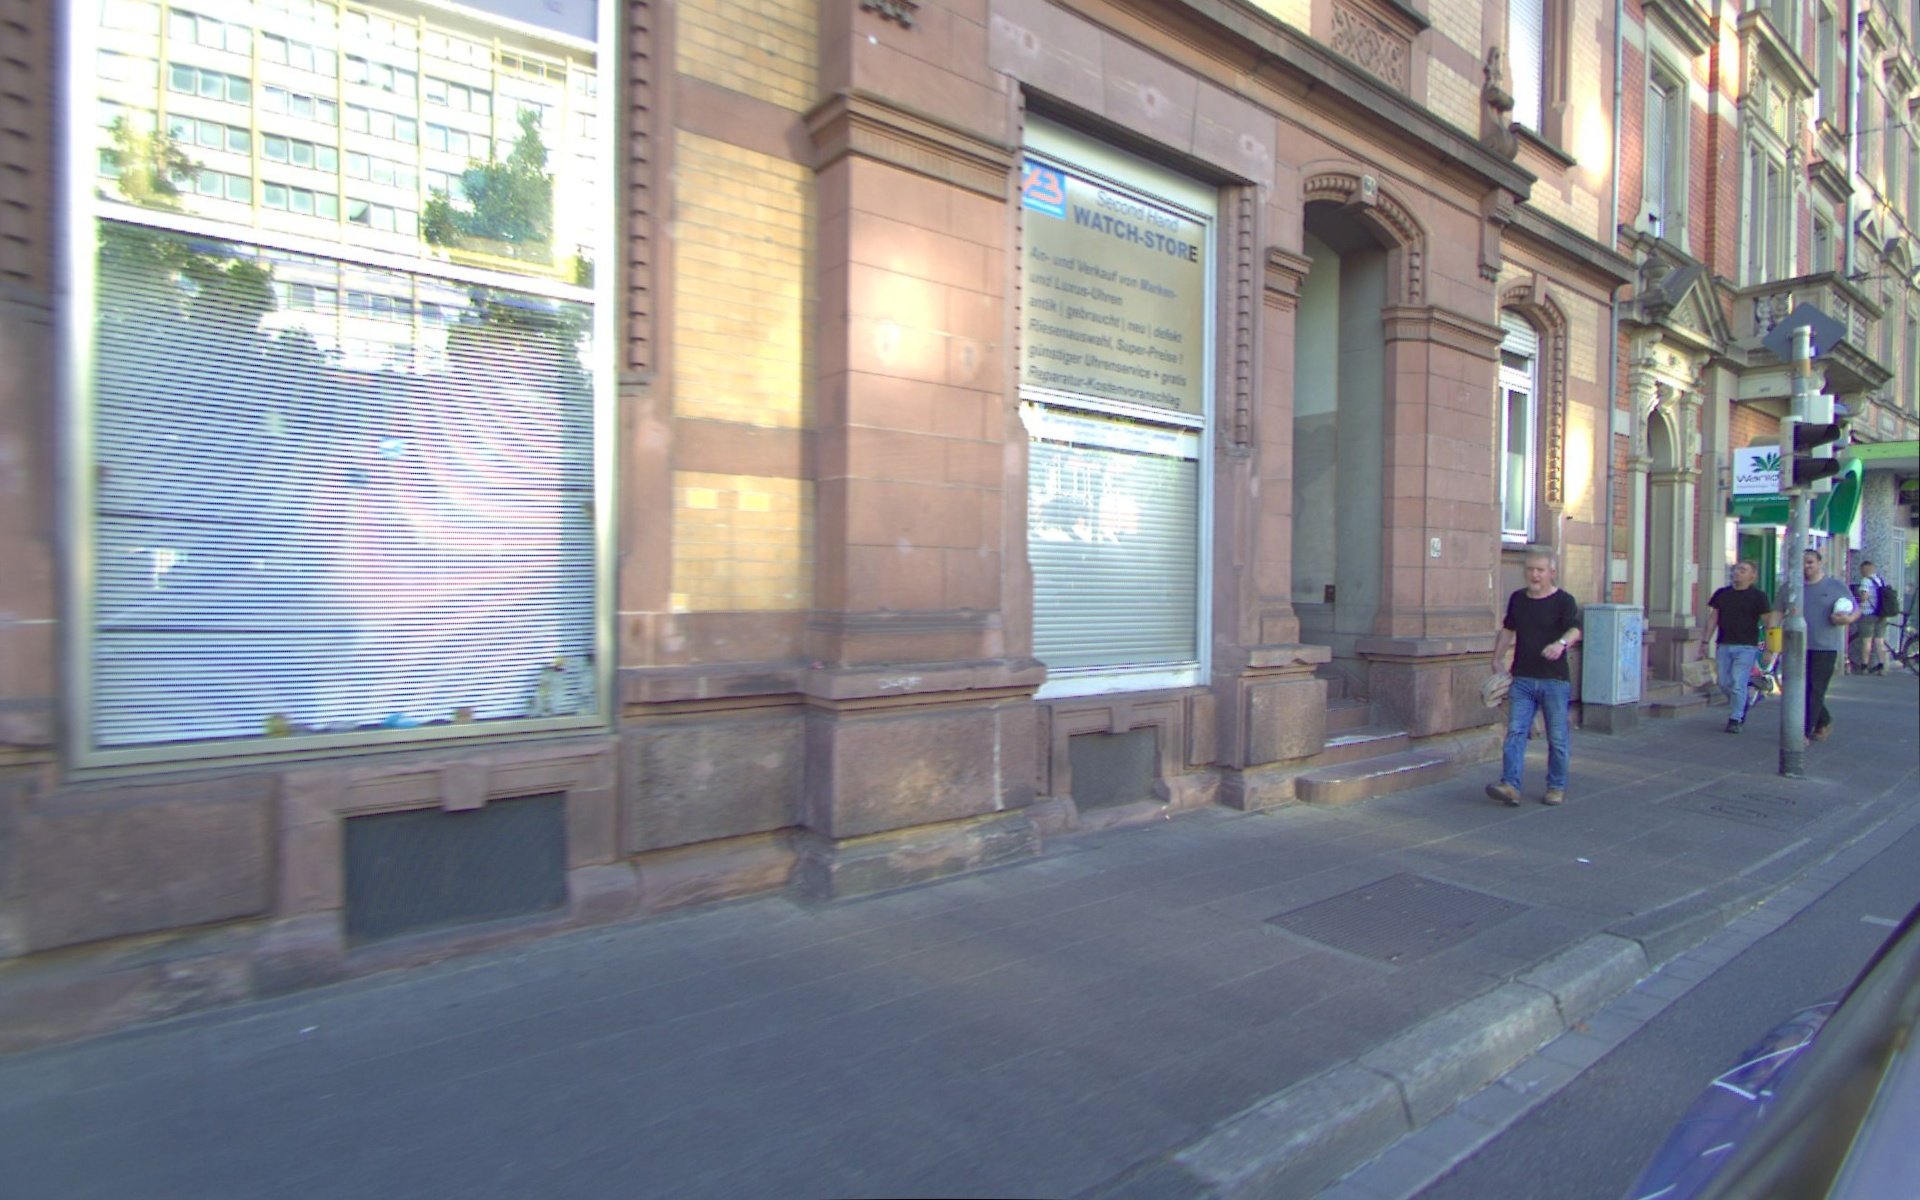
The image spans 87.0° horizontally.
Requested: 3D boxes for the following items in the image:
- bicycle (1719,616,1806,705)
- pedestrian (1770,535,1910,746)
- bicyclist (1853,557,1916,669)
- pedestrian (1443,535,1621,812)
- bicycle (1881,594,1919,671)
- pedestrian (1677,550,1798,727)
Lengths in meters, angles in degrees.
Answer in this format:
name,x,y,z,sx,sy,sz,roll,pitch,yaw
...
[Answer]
name,x,y,z,sx,sy,sz,roll,pitch,yaw
bicycle,9.717,0.710,12.248,1.215,1.008,0.346,0,2,-29
pedestrian,8.483,0.347,9.762,0.740,1.917,0.824,0,2,-37
bicyclist,16.108,0.211,17.646,0.594,1.905,0.737,1,1,26
pedestrian,3.889,0.443,6.903,0.740,1.744,0.778,0,2,-37
bicycle,16.641,0.543,17.400,0.661,1.269,1.878,1,1,26
pedestrian,8.082,0.367,10.526,0.740,1.744,0.778,0,2,-37
